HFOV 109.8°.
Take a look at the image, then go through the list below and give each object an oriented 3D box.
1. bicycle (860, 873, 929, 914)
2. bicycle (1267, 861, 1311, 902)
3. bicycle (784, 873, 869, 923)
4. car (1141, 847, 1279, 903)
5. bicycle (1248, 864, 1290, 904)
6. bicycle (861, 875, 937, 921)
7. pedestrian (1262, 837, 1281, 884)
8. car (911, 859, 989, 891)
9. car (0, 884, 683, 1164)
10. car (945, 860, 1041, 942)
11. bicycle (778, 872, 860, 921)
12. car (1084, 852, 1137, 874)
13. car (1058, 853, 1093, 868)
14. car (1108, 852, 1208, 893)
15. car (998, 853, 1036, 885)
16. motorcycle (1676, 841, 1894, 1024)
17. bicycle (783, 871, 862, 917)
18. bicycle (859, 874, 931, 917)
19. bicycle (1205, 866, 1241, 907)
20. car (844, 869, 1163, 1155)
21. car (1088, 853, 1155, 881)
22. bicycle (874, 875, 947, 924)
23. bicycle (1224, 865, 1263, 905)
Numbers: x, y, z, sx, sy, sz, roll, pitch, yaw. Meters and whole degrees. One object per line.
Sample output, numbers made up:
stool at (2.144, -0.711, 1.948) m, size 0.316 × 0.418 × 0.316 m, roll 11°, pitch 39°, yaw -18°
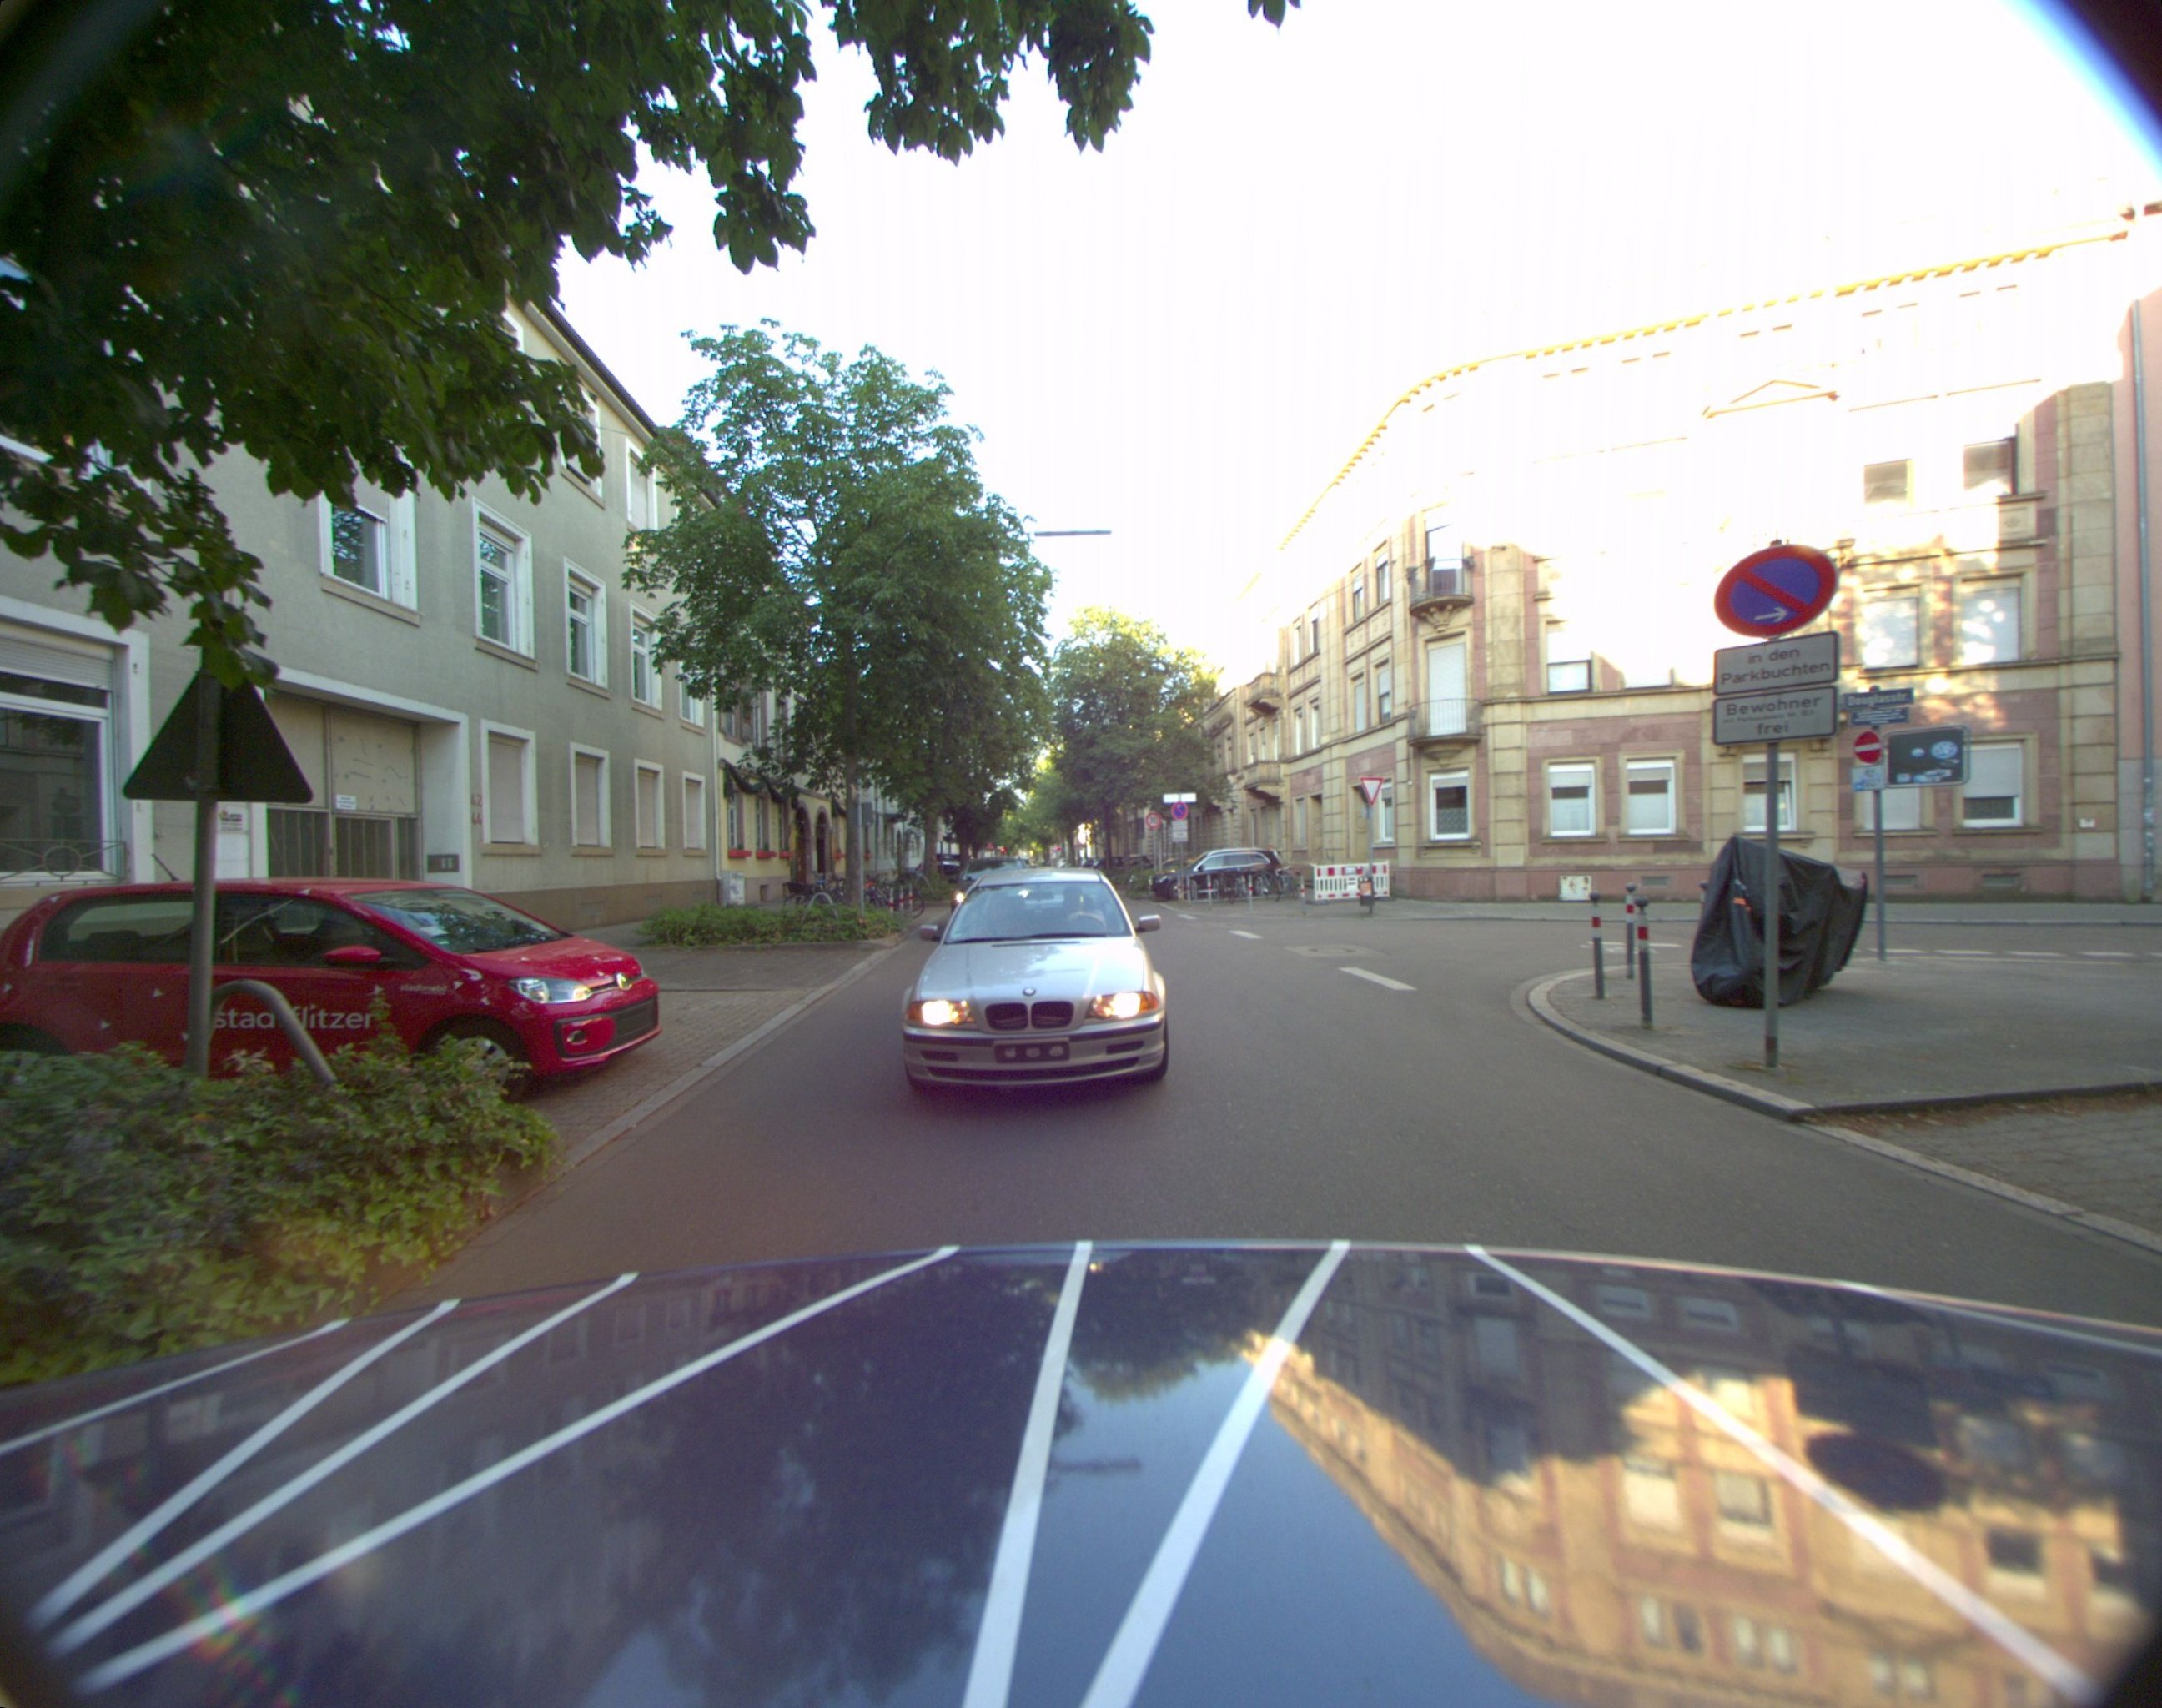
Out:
bicycle at (-5.781, 1.224, 23.646) m, size 2.029 × 1.220 × 0.535 m, roll -1°, pitch 1°, yaw -9°
bicycle at (6.378, 0.819, 23.375) m, size 0.562 × 1.144 × 2.038 m, roll -1°, pitch 0°, yaw -6°
bicycle at (-6.545, 1.116, 19.623) m, size 2.030 × 1.220 × 0.535 m, roll -1°, pitch 1°, yaw -15°
car at (4.379, 0.699, 26.278) m, size 4.423 × 1.771 × 1.742 m, roll -1°, pitch 0°, yaw -1°
bicycle at (5.758, 0.899, 23.341) m, size 0.562 × 1.144 × 2.038 m, roll -1°, pitch 0°, yaw -6°
bicycle at (-5.126, 1.224, 21.478) m, size 2.029 × 1.220 × 0.535 m, roll -1°, pitch 1°, yaw -9°
pedestrian at (7.506, 0.255, 29.968) m, size 0.573 × 1.797 × 0.651 m, roll -1°, pitch 1°, yaw 0°
car at (-7.476, 1.181, 43.577) m, size 4.245 × 1.729 × 1.741 m, roll -1°, pitch 0°, yaw -5°
car at (-5.032, 1.011, 5.270) m, size 3.621 × 1.468 × 1.664 m, roll -1°, pitch 0°, yaw -5°
car at (-1.831, 0.951, 16.992) m, size 1.806 × 1.543 × 3.999 m, roll -1°, pitch 0°, yaw -2°
bicycle at (-6.988, 1.125, 20.337) m, size 2.030 × 1.220 × 0.535 m, roll -1°, pitch 1°, yaw -15°
car at (2.411, 0.743, 62.521) m, size 4.244 × 1.749 × 1.741 m, roll -1°, pitch 0°, yaw -3°
car at (-0.717, 0.833, 94.294) m, size 4.244 × 1.749 × 1.741 m, roll -1°, pitch 0°, yaw -3°
car at (3.368, 0.805, 33.721) m, size 4.243 × 1.668 × 1.742 m, roll -1°, pitch 0°, yaw 1°
car at (-3.250, 0.733, 39.137) m, size 1.806 × 1.543 × 3.998 m, roll -1°, pitch 0°, yaw -3°
motorcycle at (6.681, 0.644, 7.178) m, size 2.286 × 1.496 × 0.816 m, roll -1°, pitch 1°, yaw -29°
bicycle at (-7.280, 1.123, 21.490) m, size 2.029 × 1.220 × 0.535 m, roll -1°, pitch 1°, yaw -11°
bicycle at (-5.561, 1.226, 22.770) m, size 2.029 × 1.220 × 0.535 m, roll -1°, pitch 1°, yaw -9°
bicycle at (4.324, 0.966, 23.267) m, size 0.562 × 1.144 × 2.039 m, roll -1°, pitch 0°, yaw -5°
car at (-0.341, 0.910, 6.352) m, size 1.711 × 1.433 × 4.436 m, roll -1°, pitch 0°, yaw 2°
car at (2.650, 0.854, 50.039) m, size 4.244 × 1.749 × 1.741 m, roll -1°, pitch 0°, yaw -3°
bicycle at (-4.533, 1.200, 20.223) m, size 1.849 × 1.220 × 0.535 m, roll -1°, pitch 1°, yaw -15°
bicycle at (4.964, 0.922, 23.319) m, size 0.562 × 1.144 × 2.039 m, roll -1°, pitch 0°, yaw -5°
